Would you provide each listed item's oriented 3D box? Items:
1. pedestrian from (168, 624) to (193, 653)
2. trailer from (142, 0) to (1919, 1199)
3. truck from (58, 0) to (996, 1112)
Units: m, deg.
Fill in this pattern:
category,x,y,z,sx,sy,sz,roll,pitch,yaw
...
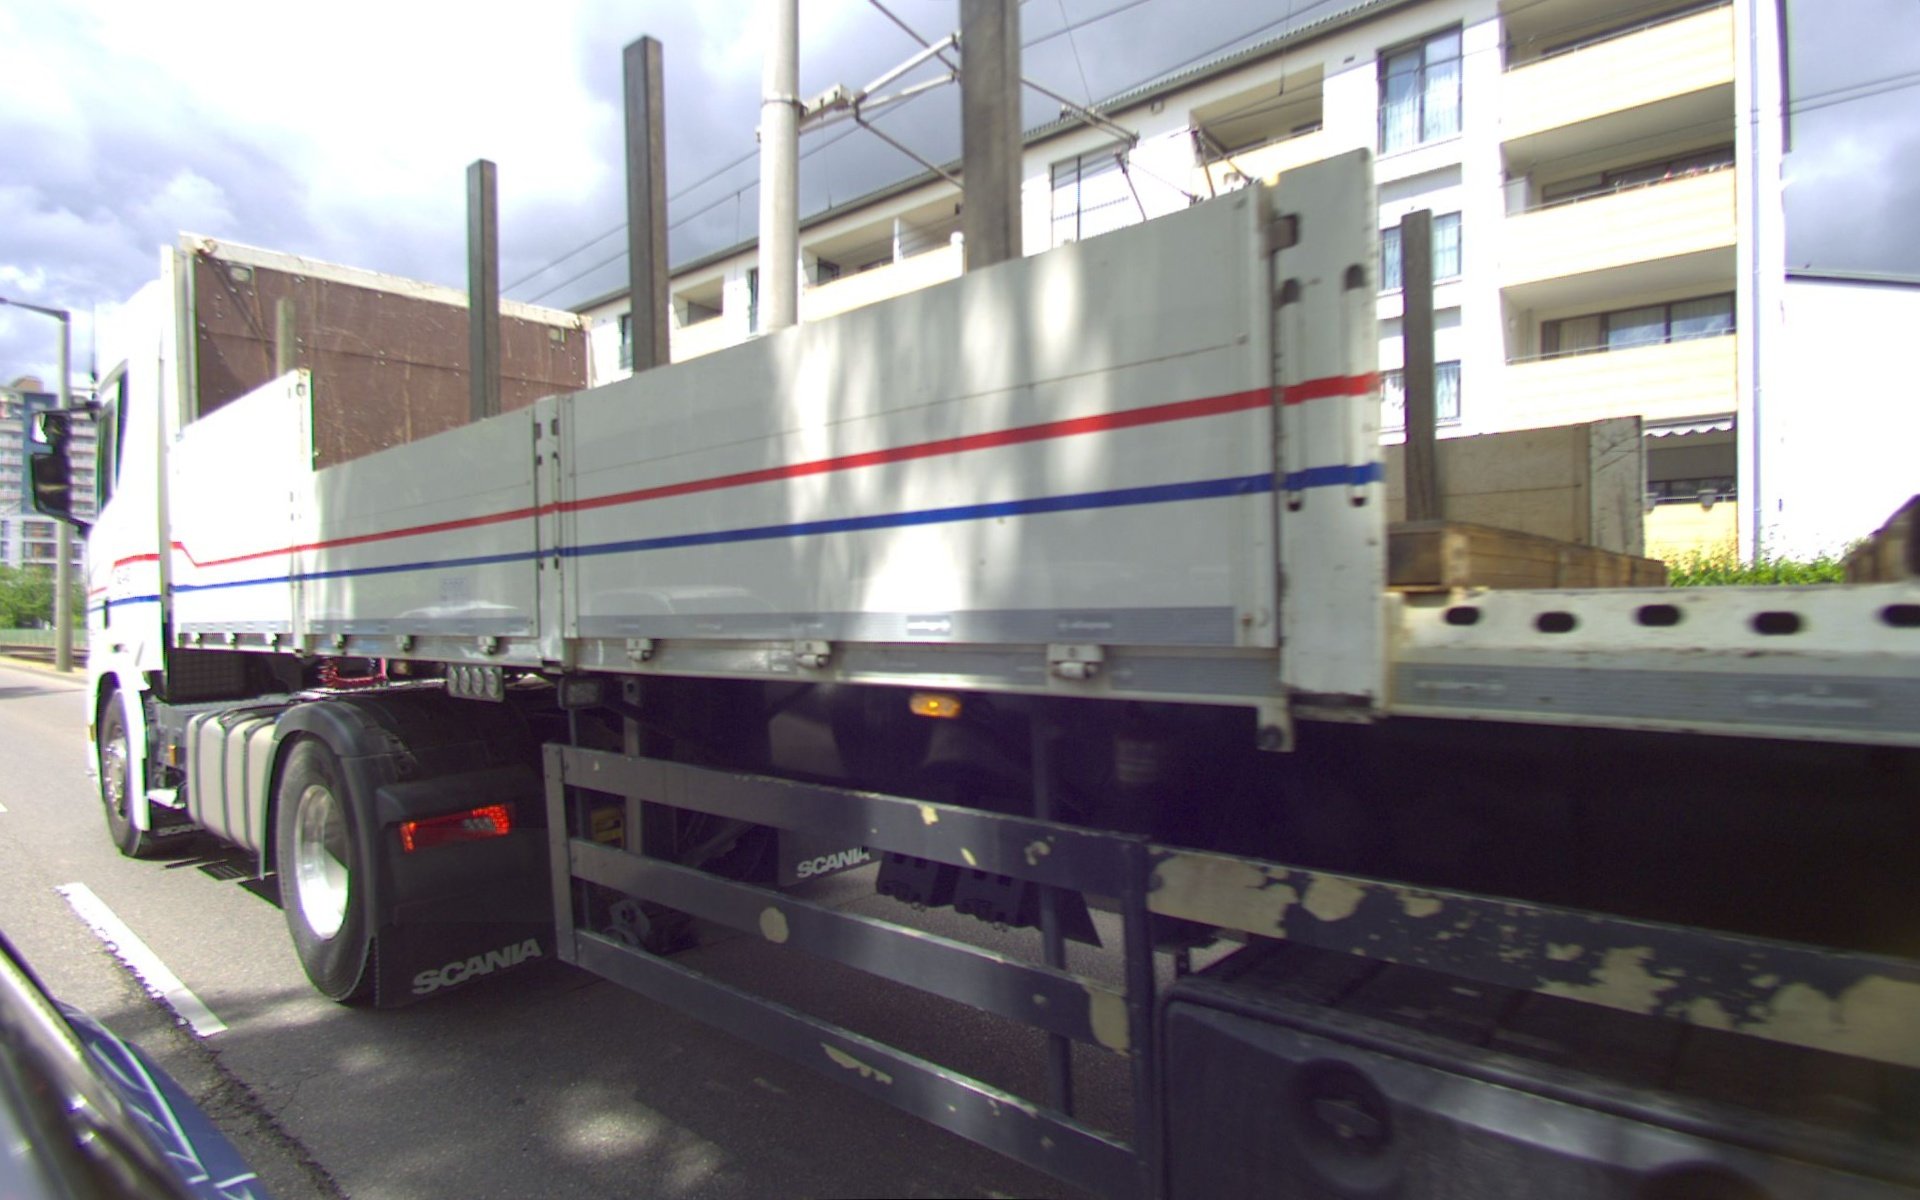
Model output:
category,x,y,z,sx,sy,sz,roll,pitch,yaw
pedestrian,-40.646,1.997,52.756,0.994,1.494,0.788,-2,-2,38
trailer,1.812,-0.436,1.652,13.669,3.607,2.670,-2,-1,42
truck,-3.028,-0.291,5.940,6.142,3.607,2.670,-2,-1,41
